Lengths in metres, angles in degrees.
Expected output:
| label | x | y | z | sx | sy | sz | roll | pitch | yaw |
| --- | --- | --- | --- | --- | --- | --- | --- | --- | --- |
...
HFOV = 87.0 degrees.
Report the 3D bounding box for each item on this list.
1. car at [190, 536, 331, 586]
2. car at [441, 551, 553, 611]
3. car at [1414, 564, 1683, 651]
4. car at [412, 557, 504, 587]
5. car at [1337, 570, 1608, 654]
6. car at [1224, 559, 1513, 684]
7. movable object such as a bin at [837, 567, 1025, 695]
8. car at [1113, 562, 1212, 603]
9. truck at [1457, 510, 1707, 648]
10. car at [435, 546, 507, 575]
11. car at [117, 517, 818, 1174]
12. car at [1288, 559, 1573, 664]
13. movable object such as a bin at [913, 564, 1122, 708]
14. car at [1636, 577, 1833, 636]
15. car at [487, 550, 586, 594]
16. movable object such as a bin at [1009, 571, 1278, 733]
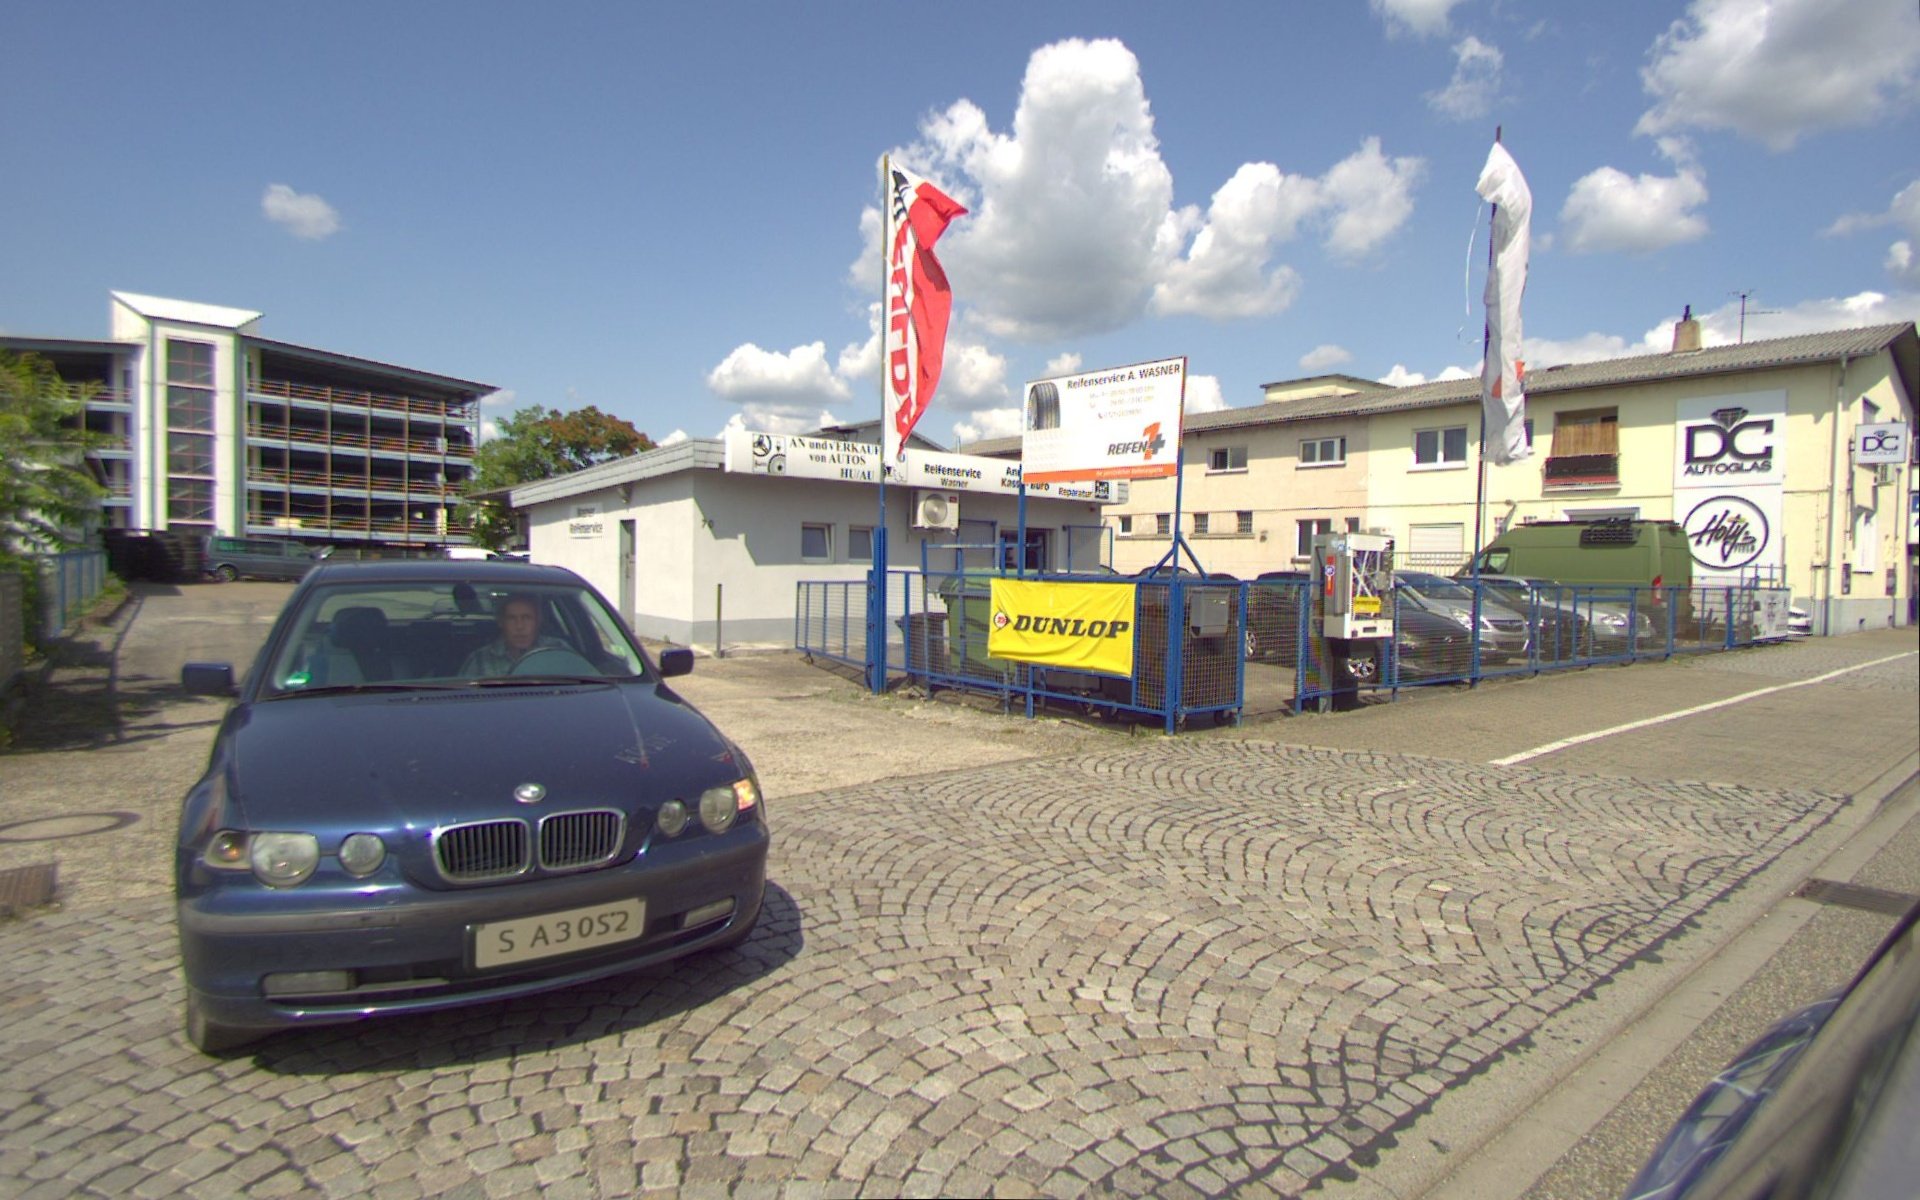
| label | x | y | z | sx | sy | sz | roll | pitch | yaw |
| --- | --- | --- | --- | --- | --- | --- | --- | --- | --- |
| car | -30.785 | -1.694 | 44.624 | 4.865 | 2.039 | 1.967 | -2 | 1 | -44 |
| car | -11.442 | -0.459 | 25.265 | 1.605 | 1.370 | 3.679 | 0 | 1 | -9 |
| car | 11.442 | 0.106 | 19.979 | 1.791 | 1.526 | 4.266 | -1 | 1 | -31 |
| car | -24.408 | -1.336 | 49.241 | 3.742 | 1.361 | 1.537 | 0 | 1 | -45 |
| car | 9.396 | 0.147 | 18.921 | 1.707 | 1.391 | 4.266 | -1 | 2 | -32 |
| car | 5.737 | 0.190 | 14.761 | 1.592 | 1.480 | 3.920 | -1 | 4 | -23 |
| movable object such as a bin | -0.357 | 0.326 | 12.452 | 1.734 | 1.428 | 1.535 | -1 | 1 | -40 |
| car | 6.619 | -0.580 | 32.966 | 3.218 | 1.277 | 1.453 | -1 | 1 | -39 |
| truck | 13.396 | -0.433 | 21.998 | 2.070 | 2.694 | 4.181 | -1 | 1 | -38 |
| car | -25.043 | -1.993 | 51.879 | 3.092 | 1.394 | 1.380 | 0 | 1 | -41 |
| car | -2.166 | 0.489 | 4.358 | 1.615 | 1.425 | 4.070 | -1 | 1 | -31 |
| car | 7.728 | 0.137 | 17.116 | 1.789 | 1.524 | 4.271 | -1 | 1 | -23 |
| movable object such as a bin | 0.637 | 0.336 | 11.214 | 1.734 | 1.428 | 1.535 | -1 | 1 | -40 |
| car | 19.674 | 0.144 | 25.833 | 1.490 | 1.375 | 3.729 | -1 | 1 | -35 |
| car | -17.721 | -1.145 | 42.439 | 3.536 | 1.764 | 1.538 | 0 | 0 | -41 |
| movable object such as a bin | 1.756 | 0.421 | 9.849 | 1.678 | 1.364 | 1.966 | -1 | 1 | -40 |
